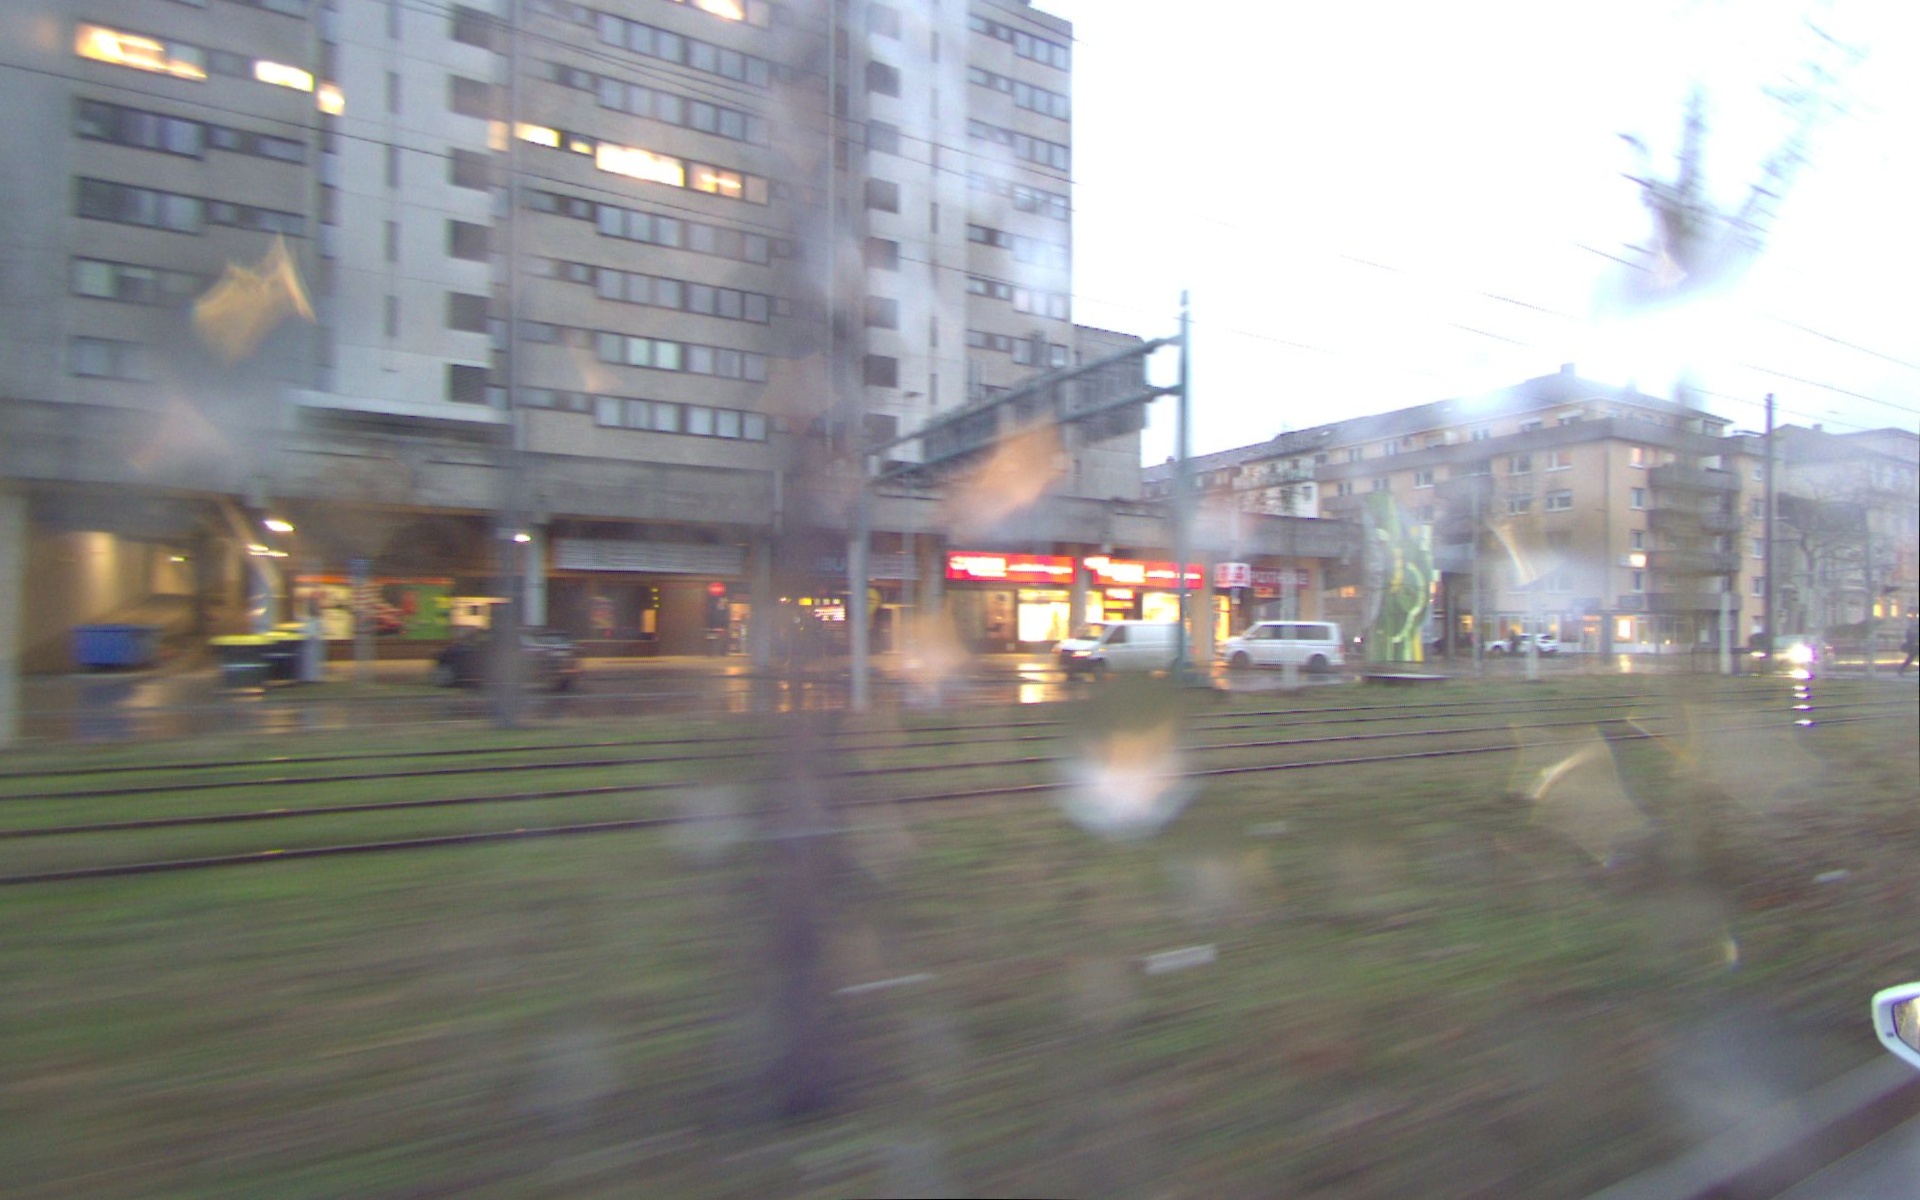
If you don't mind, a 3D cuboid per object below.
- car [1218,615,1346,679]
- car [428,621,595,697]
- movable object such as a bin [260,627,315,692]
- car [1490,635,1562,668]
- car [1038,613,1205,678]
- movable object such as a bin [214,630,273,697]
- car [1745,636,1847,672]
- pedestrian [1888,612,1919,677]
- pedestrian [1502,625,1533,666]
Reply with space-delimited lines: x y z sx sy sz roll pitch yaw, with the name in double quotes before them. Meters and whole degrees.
"car" 12.865 1.833 40.385 4.735 2.274 2.001 2 0 16
"car" -11.836 1.488 26.496 4.068 1.715 1.981 2 0 30
"movable object such as a bin" -16.588 1.450 24.759 1.004 1.521 1.040 2 0 -40
"car" 37.655 3.414 66.849 1.825 1.968 3.722 2 0 -36
"car" 5.625 1.577 34.889 5.488 2.073 1.988 2 0 -24
"movable object such as a bin" -16.638 1.451 23.306 1.022 1.445 1.061 2 0 -40
"car" 34.942 2.263 41.992 4.263 1.350 1.851 2 0 -29
"pedestrian" 30.381 1.399 32.058 0.992 2.040 0.958 0 -1 38
"pedestrian" 28.357 2.320 51.114 1.253 2.040 1.003 0 -1 38
